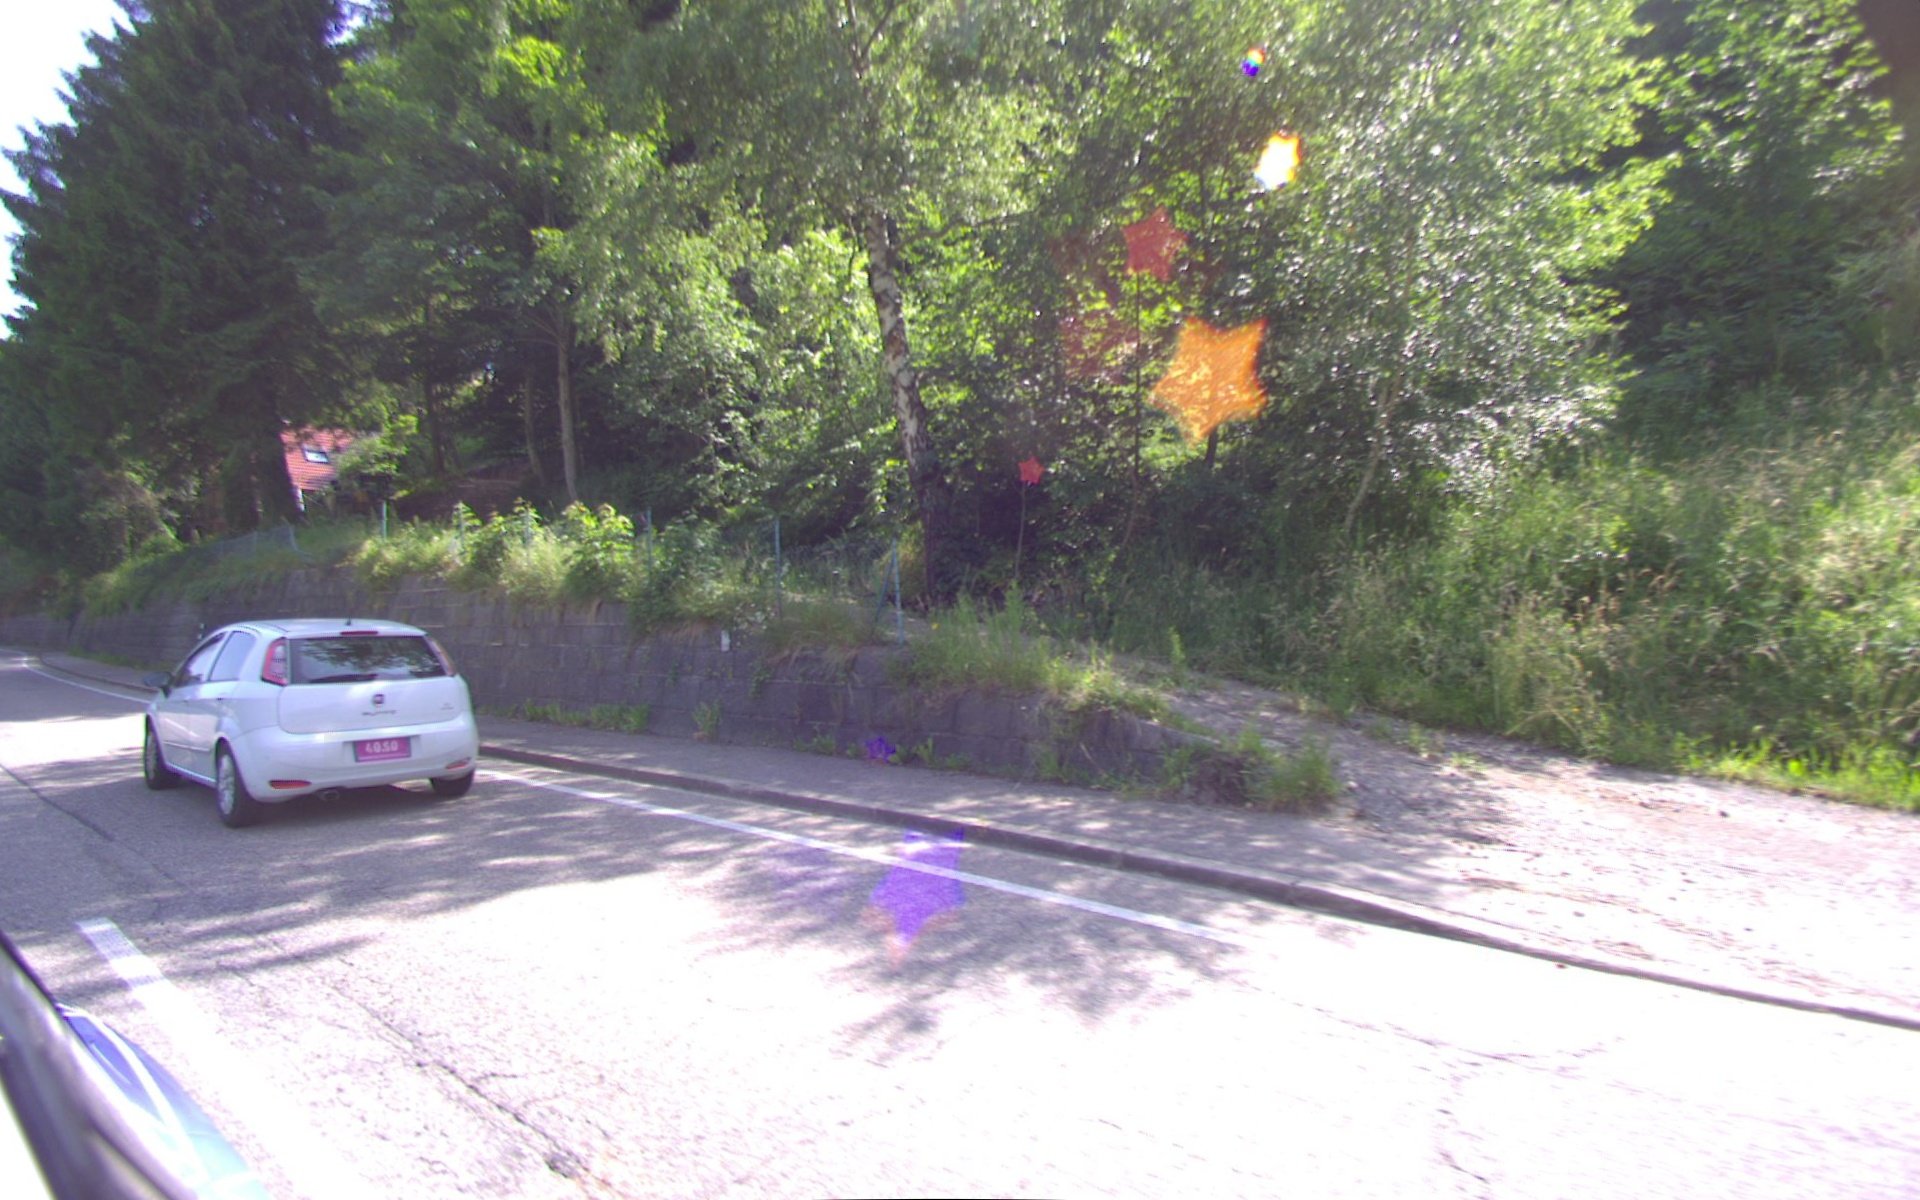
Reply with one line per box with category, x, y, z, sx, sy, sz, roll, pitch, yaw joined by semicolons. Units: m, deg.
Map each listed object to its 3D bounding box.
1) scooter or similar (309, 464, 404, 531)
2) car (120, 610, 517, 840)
scooter or similar;-22.060;-3.686;36.908;1.955;2.041;4.409;-5;3;-43
car;-5.476;0.818;8.433;3.999;1.448;1.759;0;-1;42
